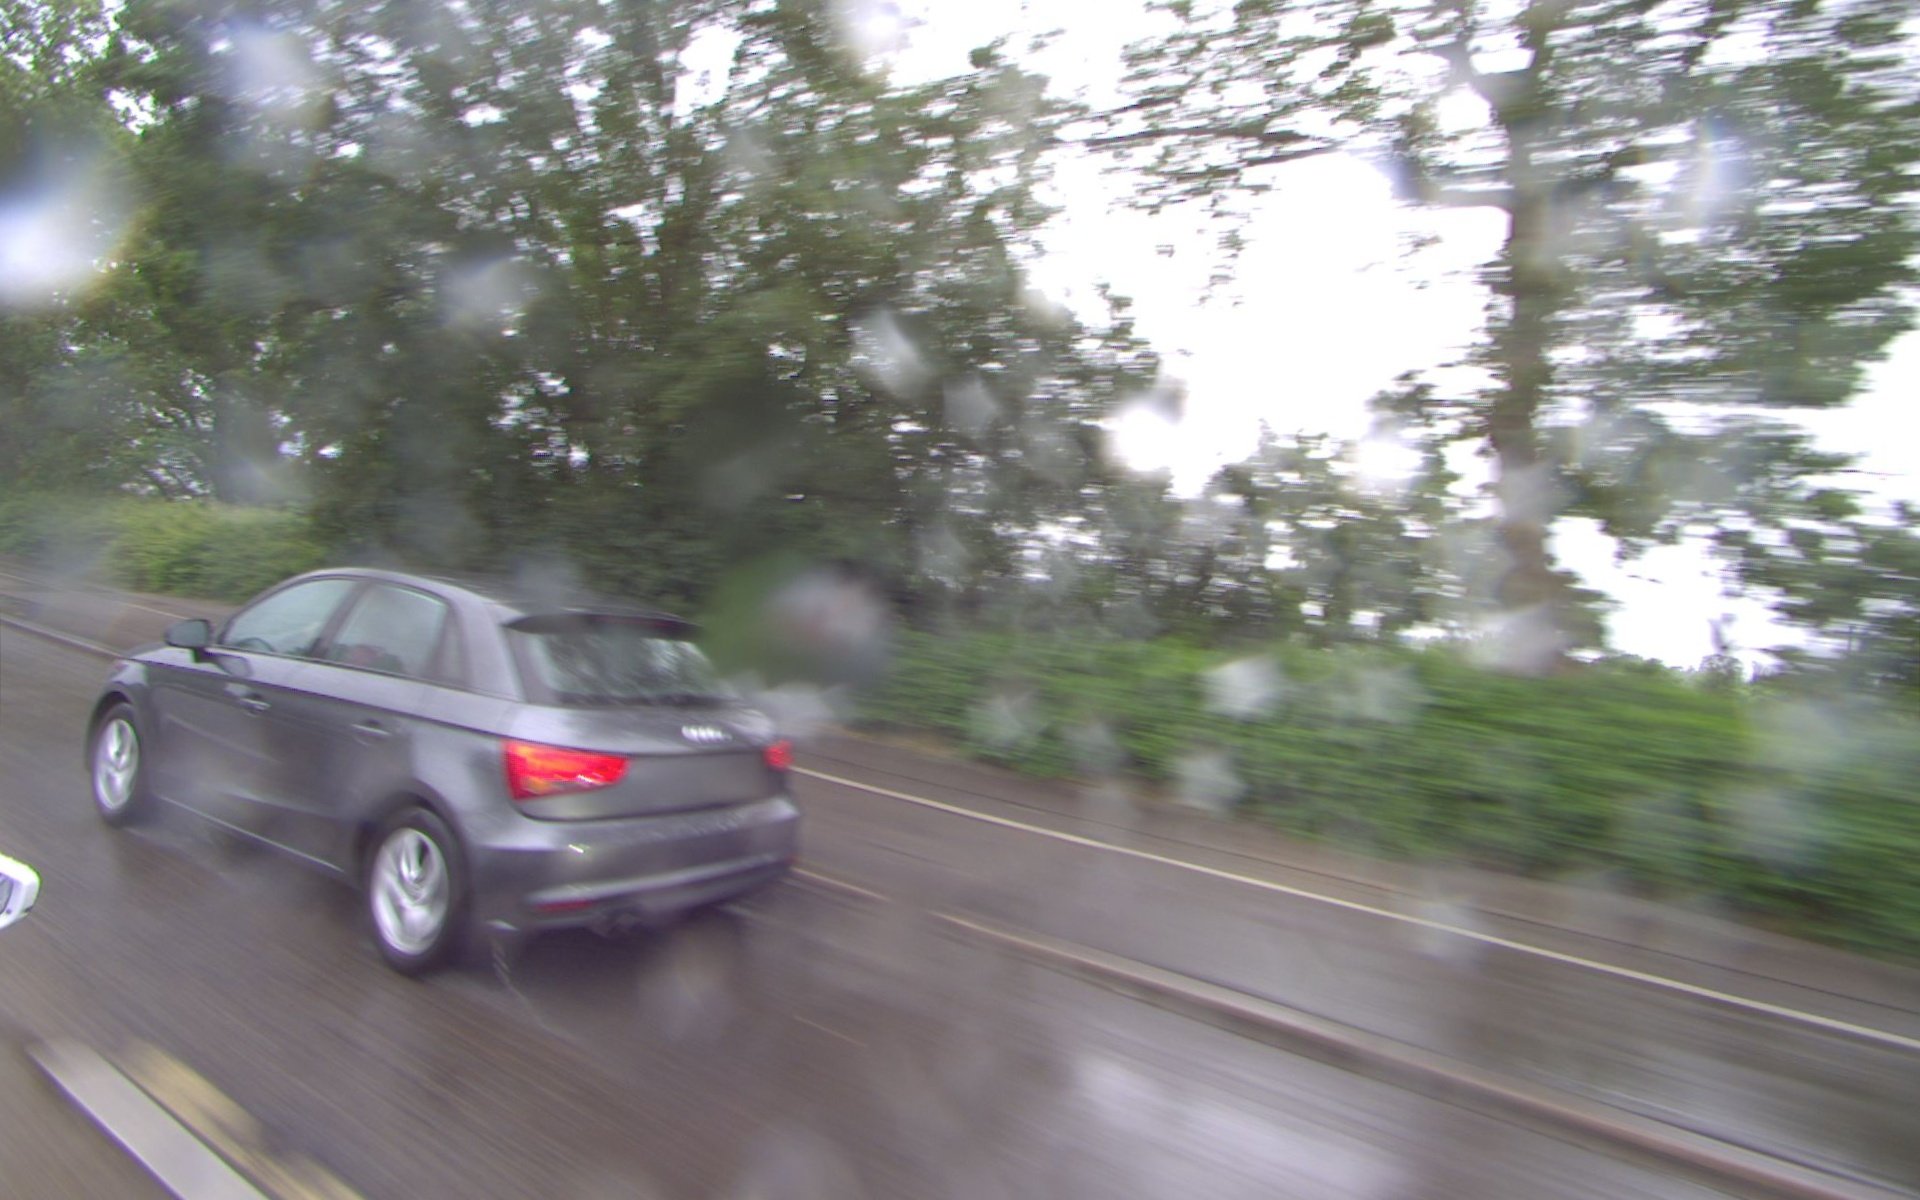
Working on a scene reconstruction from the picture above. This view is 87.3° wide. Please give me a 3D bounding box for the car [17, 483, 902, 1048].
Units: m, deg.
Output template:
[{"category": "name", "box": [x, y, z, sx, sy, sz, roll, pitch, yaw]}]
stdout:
[{"category": "car", "box": [-2.535, 0.483, 4.957, 3.924, 1.546, 1.971, 8, -1, 31]}]
